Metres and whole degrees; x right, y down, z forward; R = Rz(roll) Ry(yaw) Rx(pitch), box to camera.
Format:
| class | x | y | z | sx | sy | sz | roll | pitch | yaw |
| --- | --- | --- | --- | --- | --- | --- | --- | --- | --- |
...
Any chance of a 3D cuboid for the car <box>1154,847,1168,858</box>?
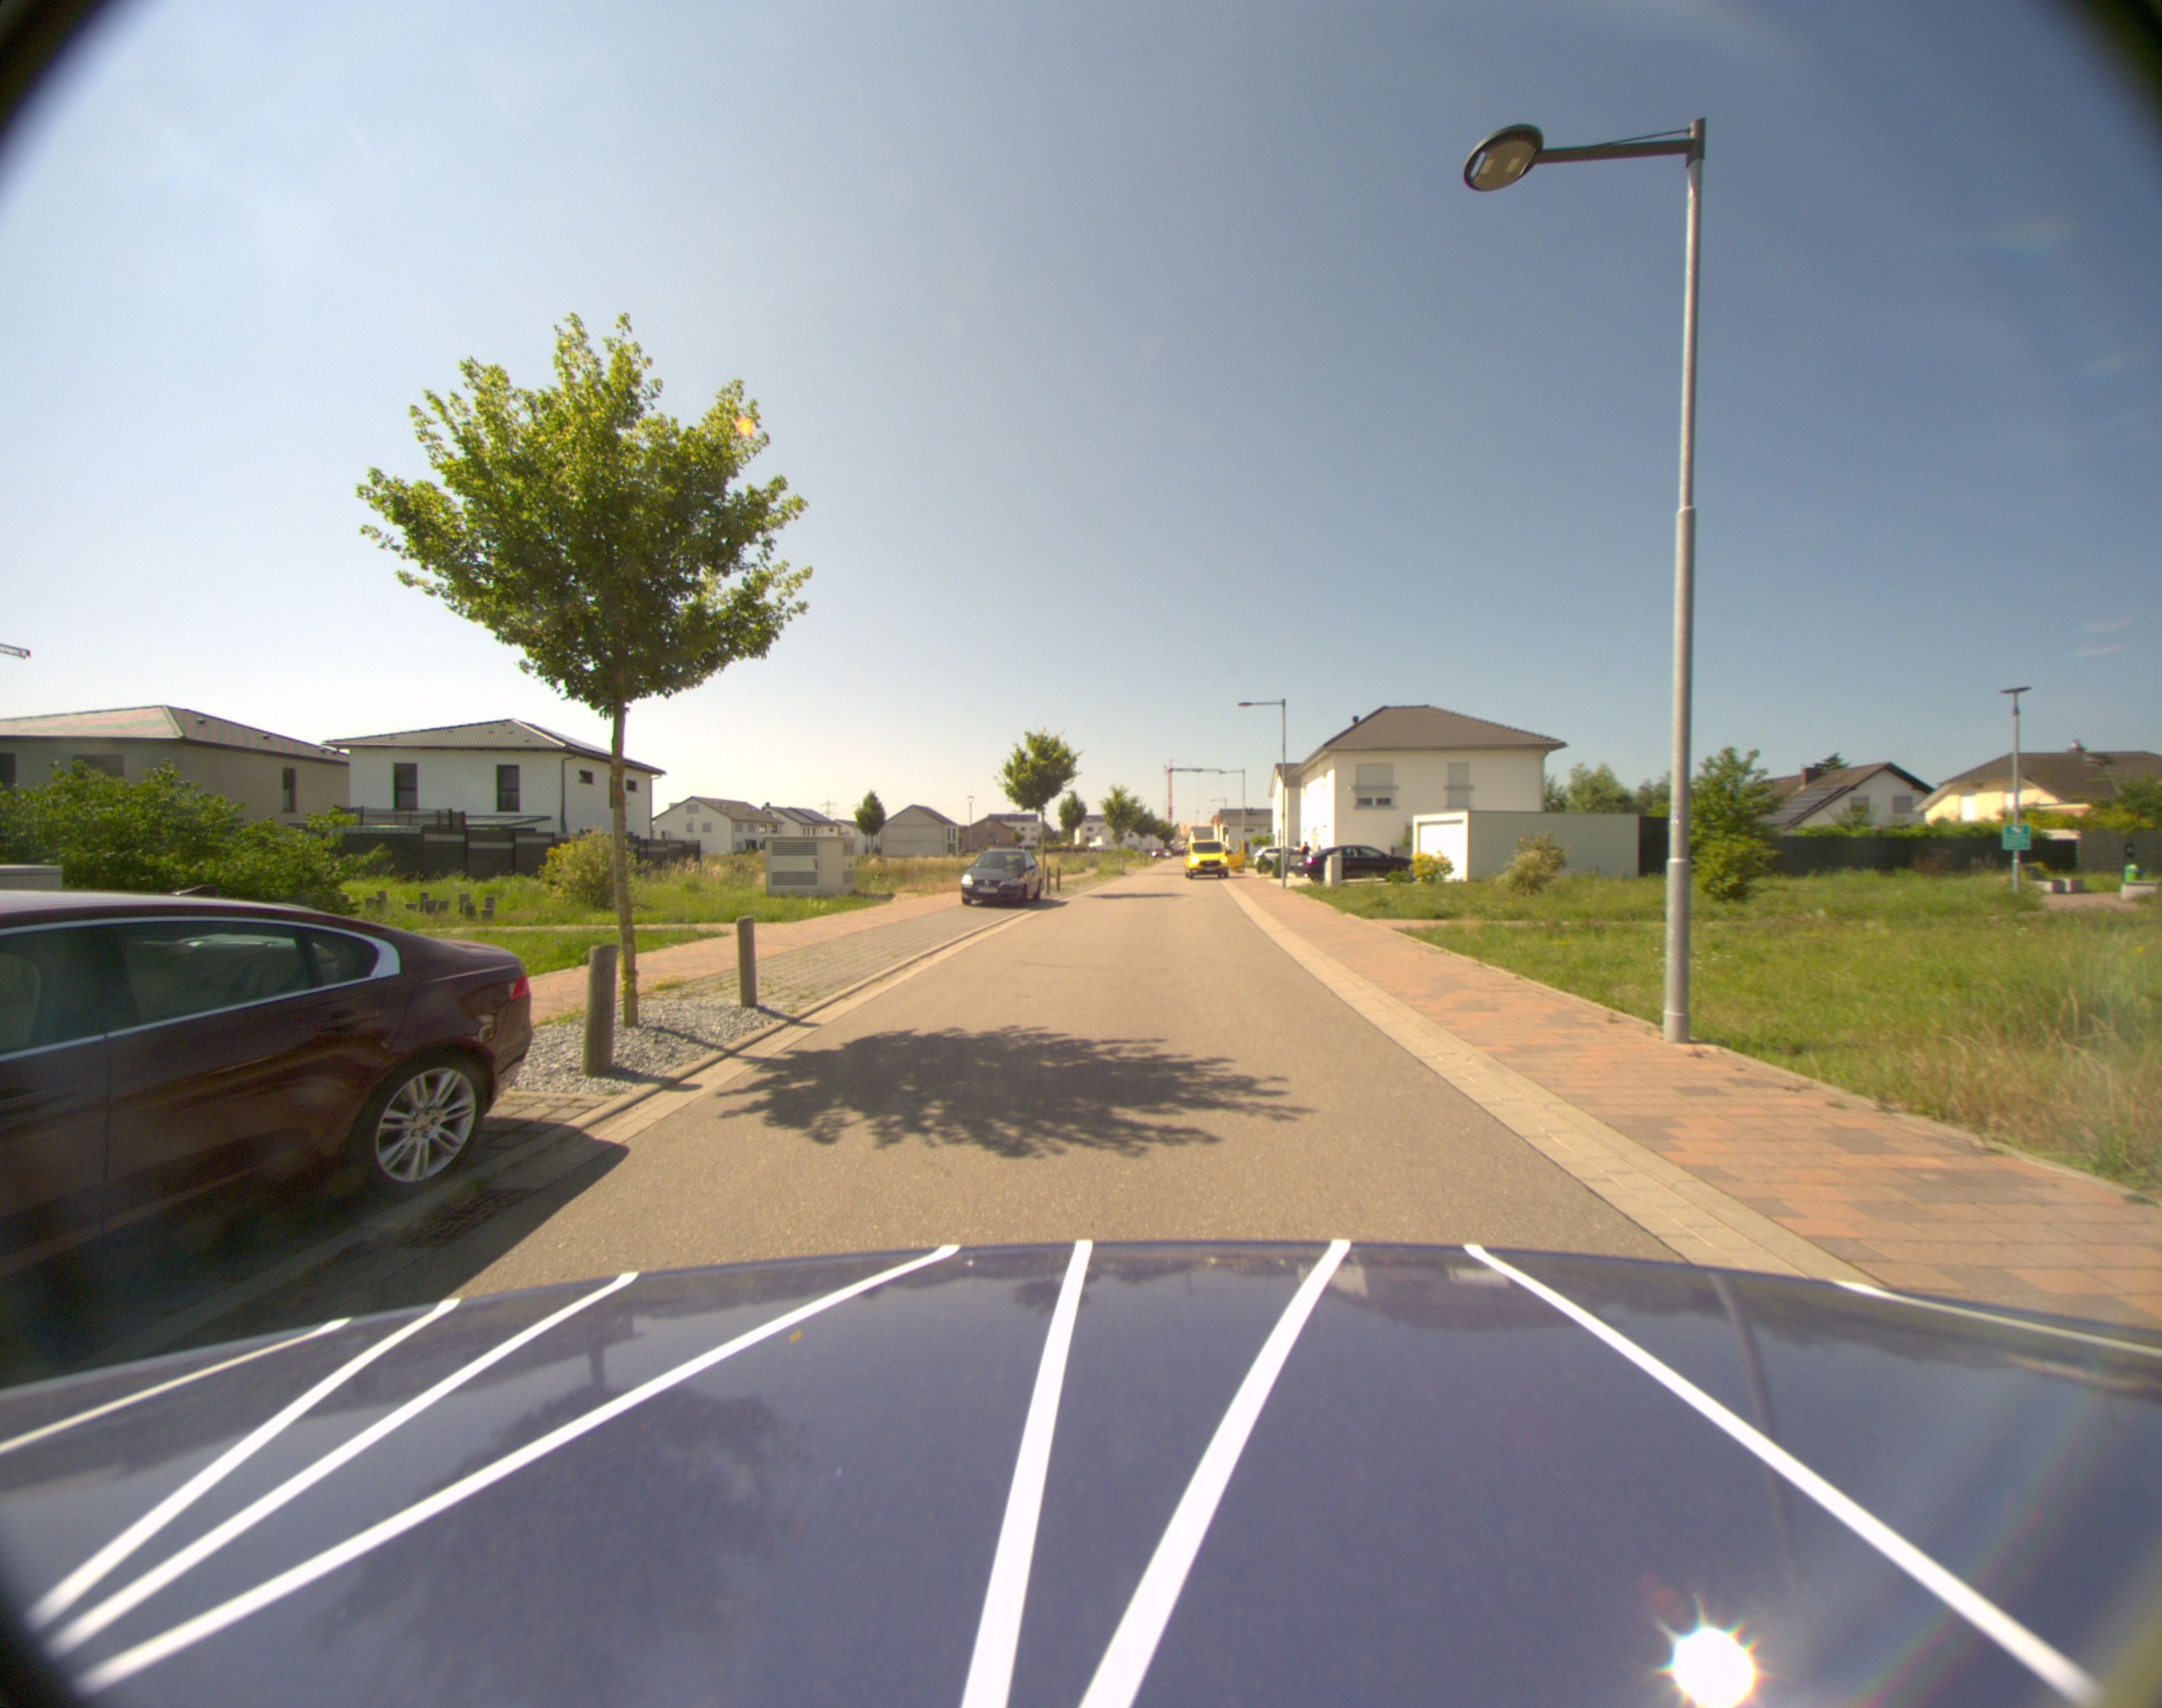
| class | x | y | z | sx | sy | sz | roll | pitch | yaw |
| --- | --- | --- | --- | --- | --- | --- | --- | --- | --- |
| car | 11.718 | -0.204 | 111.289 | 1.767 | 1.483 | 4.002 | 0 | 1 | 8 |

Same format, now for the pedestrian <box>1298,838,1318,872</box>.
| class | x | y | z | sx | sy | sz | roll | pitch | yaw |
| --- | --- | --- | --- | --- | --- | --- | --- | --- | --- |
| pedestrian | 11.403 | 0.057 | 38.160 | 0.931 | 1.675 | 0.538 | -2 | 1 | 18 |

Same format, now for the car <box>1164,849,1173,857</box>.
| class | x | y | z | sx | sy | sz | roll | pitch | yaw |
| --- | --- | --- | --- | --- | --- | --- | --- | --- | --- |
| car | 14.934 | -0.184 | 129.648 | 1.492 | 1.389 | 3.274 | 0 | 1 | 8 |

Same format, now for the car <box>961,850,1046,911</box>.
| class | x | y | z | sx | sy | sz | roll | pitch | yaw |
| --- | --- | --- | --- | --- | --- | --- | --- | --- | --- |
| car | -2.030 | 0.641 | 20.876 | 1.601 | 1.466 | 3.676 | 2 | 1 | 6 |

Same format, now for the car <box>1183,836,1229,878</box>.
| class | x | y | z | sx | sy | sz | roll | pitch | yaw |
| --- | --- | --- | --- | --- | --- | --- | --- | --- | --- |
| car | 6.441 | 0.128 | 39.565 | 1.888 | 2.002 | 4.842 | -1 | 1 | 4 |

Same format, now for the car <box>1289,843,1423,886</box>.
| class | x | y | z | sx | sy | sz | roll | pitch | yaw |
| --- | --- | --- | --- | --- | --- | --- | --- | --- | --- |
| car | 10.252 | 0.373 | 28.504 | 4.405 | 1.444 | 1.748 | -1 | 1 | -5 |

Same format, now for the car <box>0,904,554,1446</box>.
| class | x | y | z | sx | sy | sz | roll | pitch | yaw |
| --- | --- | --- | --- | --- | --- | --- | --- | --- | --- |
| car | -3.931 | 0.986 | 1.972 | 1.758 | 1.355 | 4.576 | 0 | 1 | 3 |

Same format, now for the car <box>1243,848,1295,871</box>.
| class | x | y | z | sx | sy | sz | roll | pitch | yaw |
| --- | --- | --- | --- | --- | --- | --- | --- | --- | --- |
| car | 15.486 | 0.460 | 62.681 | 3.994 | 1.842 | 2.001 | 0 | 1 | 9 |
